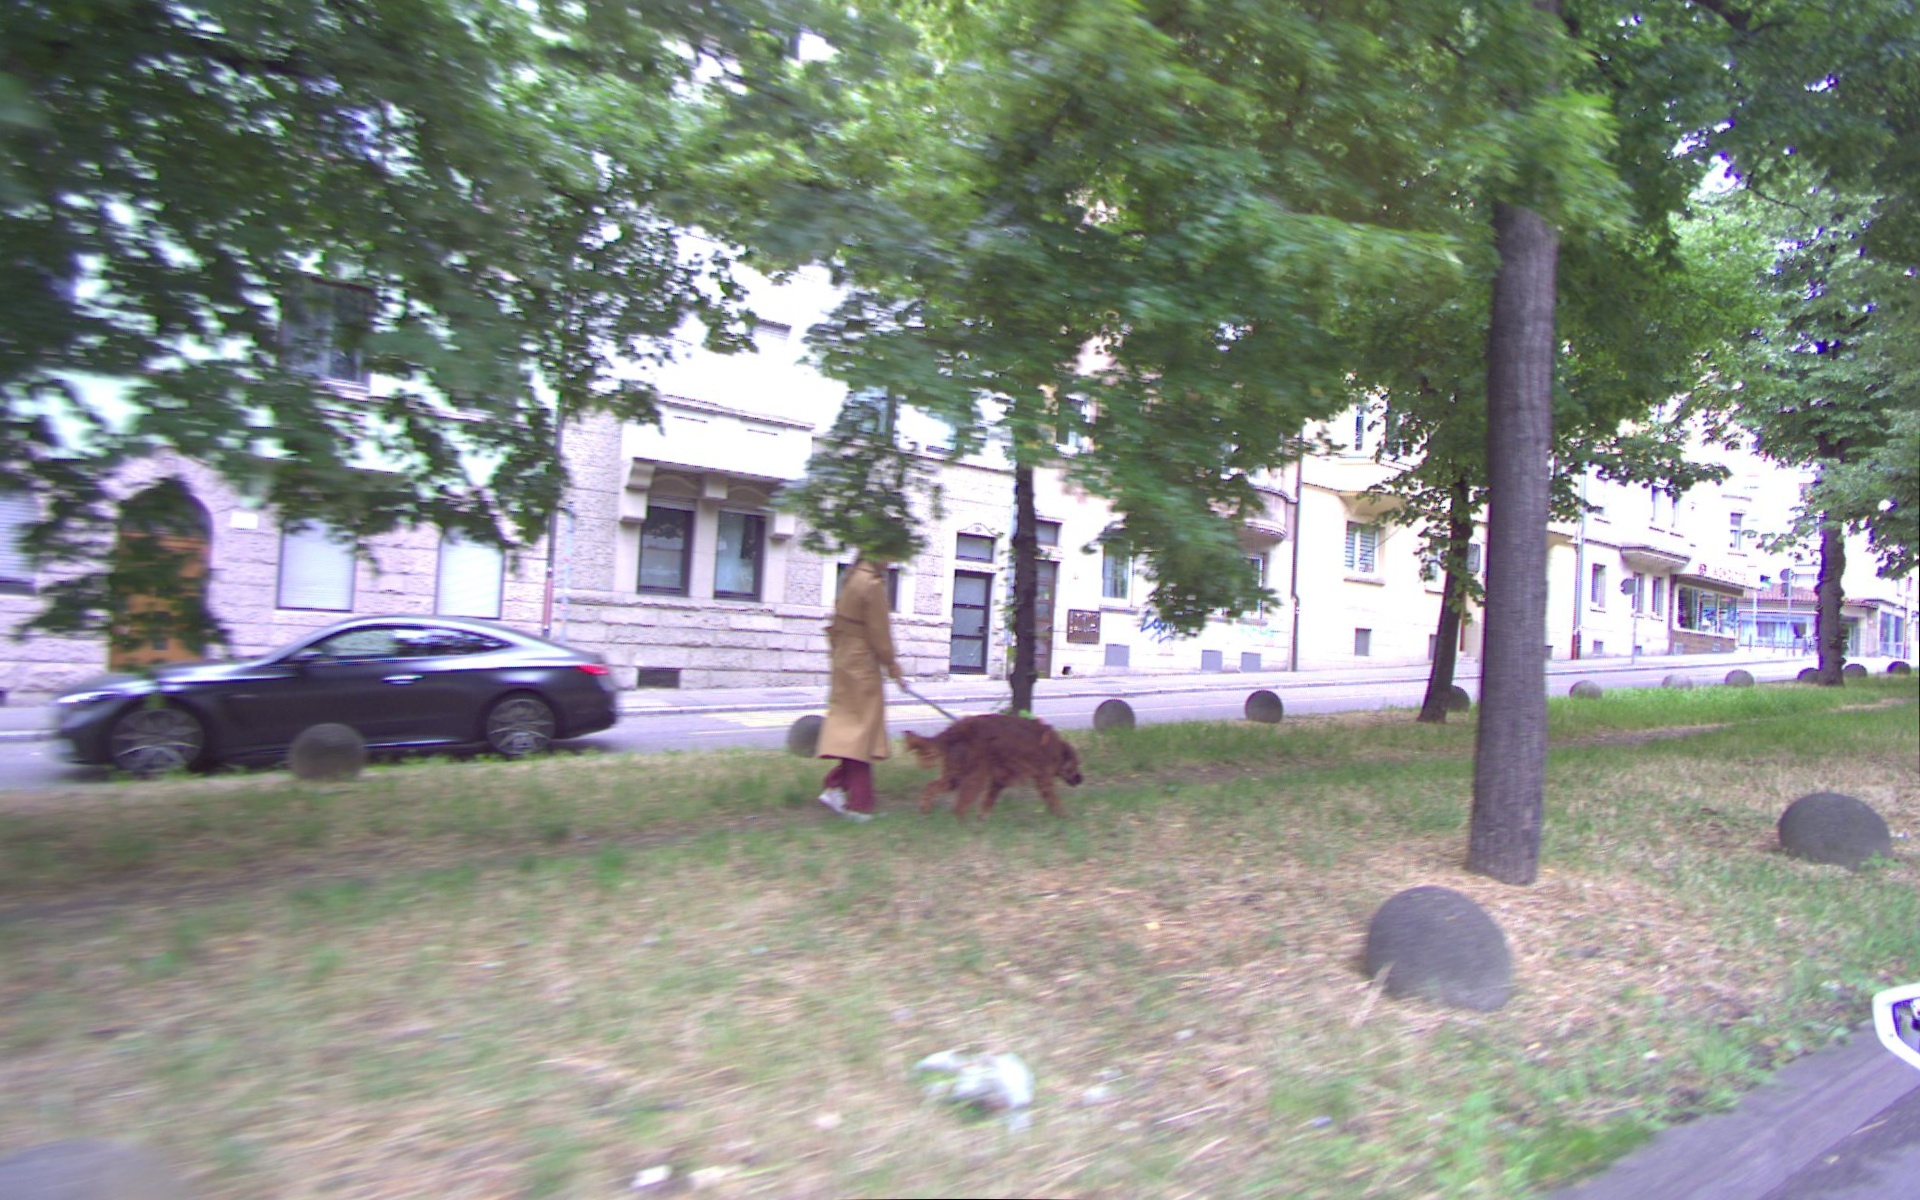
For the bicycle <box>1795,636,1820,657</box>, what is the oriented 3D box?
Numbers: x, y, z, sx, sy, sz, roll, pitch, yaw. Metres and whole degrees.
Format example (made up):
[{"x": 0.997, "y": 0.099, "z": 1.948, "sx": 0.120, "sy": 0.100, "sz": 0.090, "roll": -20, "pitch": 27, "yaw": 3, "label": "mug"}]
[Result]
[{"x": 47.885, "y": 2.647, "z": 56.778, "sx": 0.751, "sy": 1.099, "sz": 2.032, "roll": 3, "pitch": -1, "yaw": 32, "label": "bicycle"}]

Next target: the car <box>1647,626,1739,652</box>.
[{"x": 42.868, "y": 2.296, "z": 58.812, "sx": 3.963, "sy": 1.498, "sz": 1.822, "roll": -1, "pitch": -3, "yaw": 22, "label": "car"}]

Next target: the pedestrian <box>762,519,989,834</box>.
[{"x": -0.523, "y": 0.470, "z": 6.179, "sx": 1.109, "sy": 1.734, "sz": 0.830, "roll": 4, "pitch": -5, "yaw": -29, "label": "pedestrian"}]

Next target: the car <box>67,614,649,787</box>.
[{"x": -5.648, "y": 0.854, "z": 10.059, "sx": 4.611, "sy": 1.400, "sz": 1.751, "roll": 0, "pitch": -1, "yaw": -29, "label": "car"}]
